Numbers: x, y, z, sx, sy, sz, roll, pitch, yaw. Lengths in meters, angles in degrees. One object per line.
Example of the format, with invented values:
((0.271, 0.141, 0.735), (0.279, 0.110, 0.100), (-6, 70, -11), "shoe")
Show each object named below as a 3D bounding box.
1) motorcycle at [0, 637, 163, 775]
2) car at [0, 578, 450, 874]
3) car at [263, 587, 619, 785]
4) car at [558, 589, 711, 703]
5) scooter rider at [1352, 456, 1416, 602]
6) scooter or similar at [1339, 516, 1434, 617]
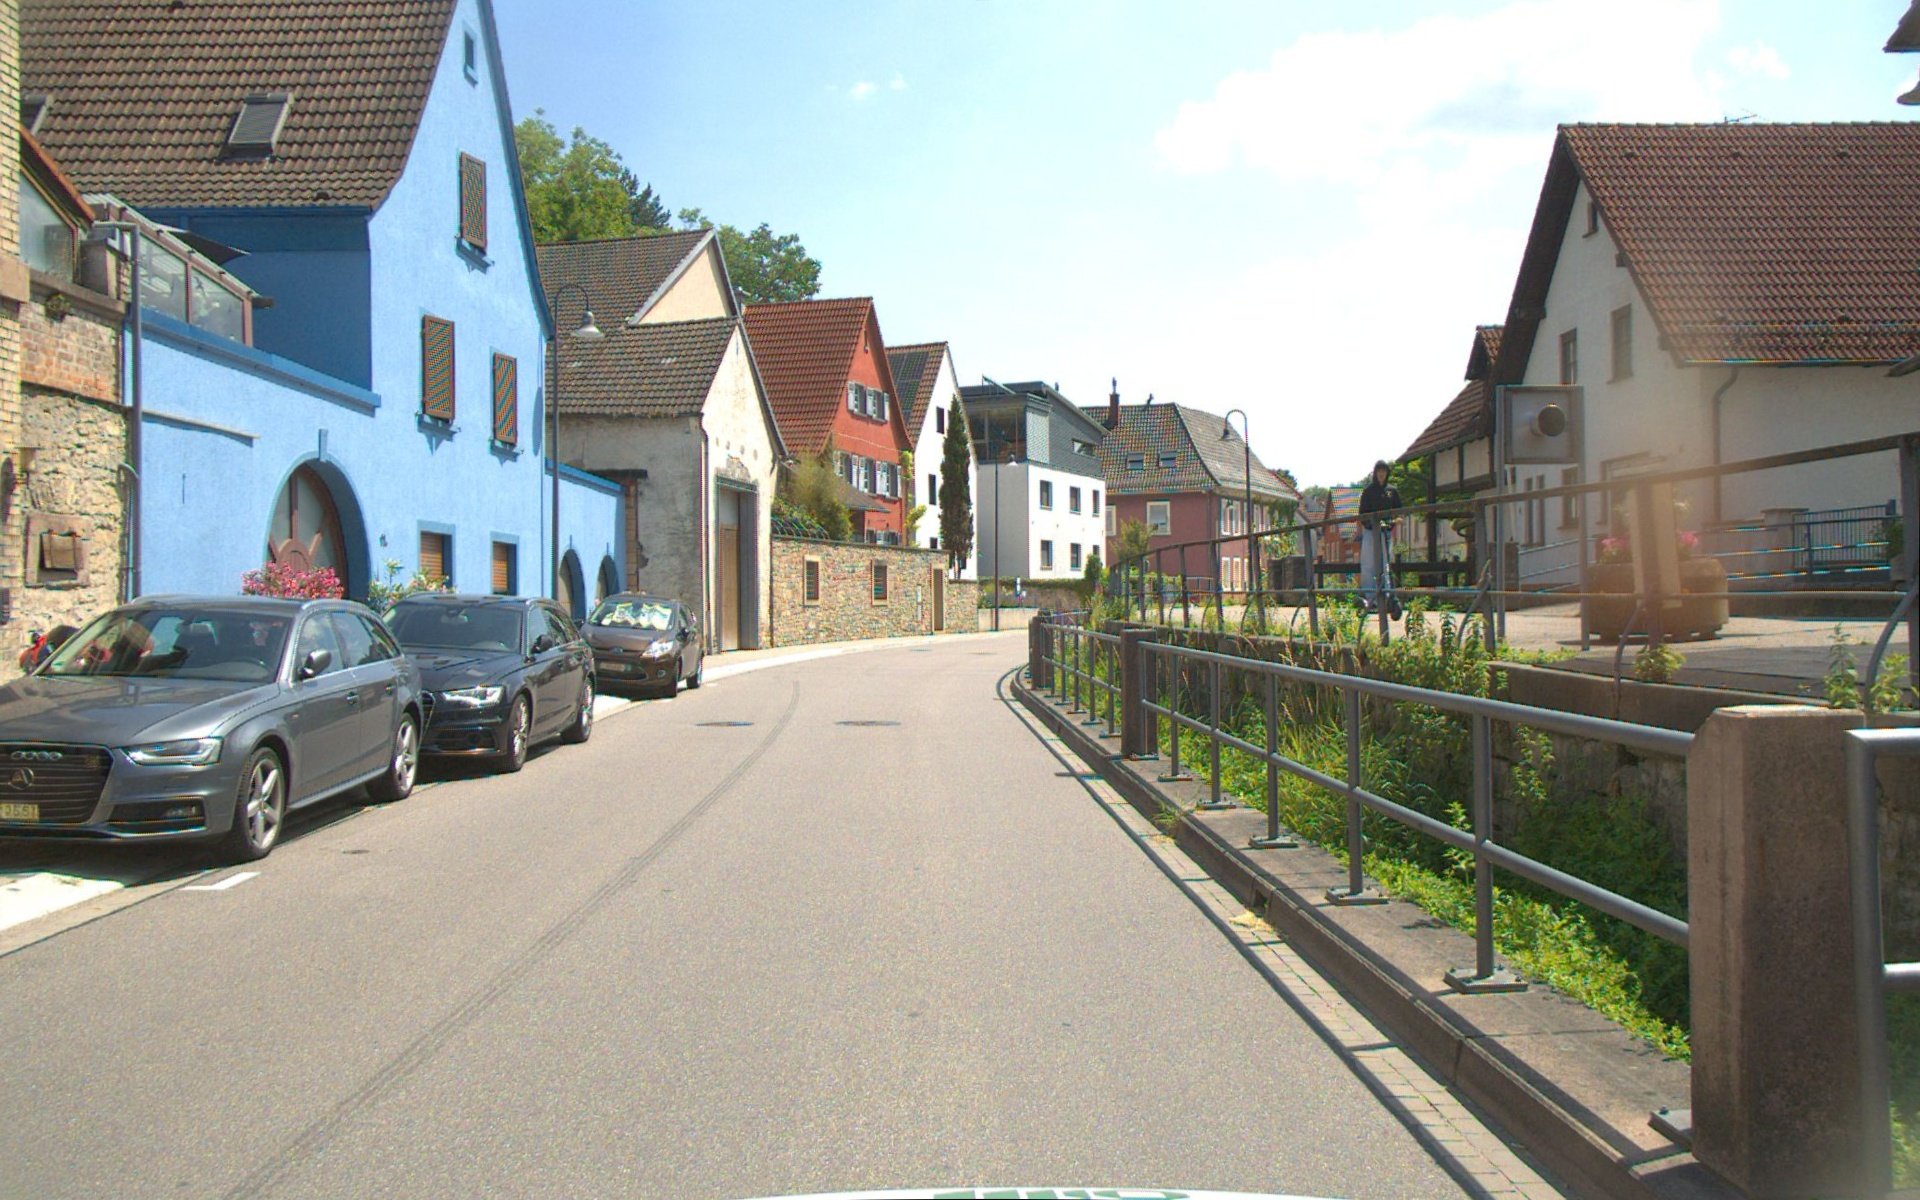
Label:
((-7.248, 0.841, 13.708), (0.409, 1.018, 1.857), (4, -1, -3), "motorcycle")
((-4.839, 0.670, 10.601), (1.917, 1.491, 4.542), (0, -1, -3), "car")
((-4.604, 0.666, 15.483), (1.847, 1.489, 4.668), (3, 0, -1), "car")
((-4.968, 0.669, 25.706), (1.683, 1.556, 3.854), (3, 0, -2), "car")
((5.190, -0.860, 20.259), (0.628, 1.762, 0.554), (0, -1, -1), "scooter rider")
((5.180, -0.385, 20.191), (0.628, 1.162, 1.811), (-2, -1, -1), "scooter or similar")
